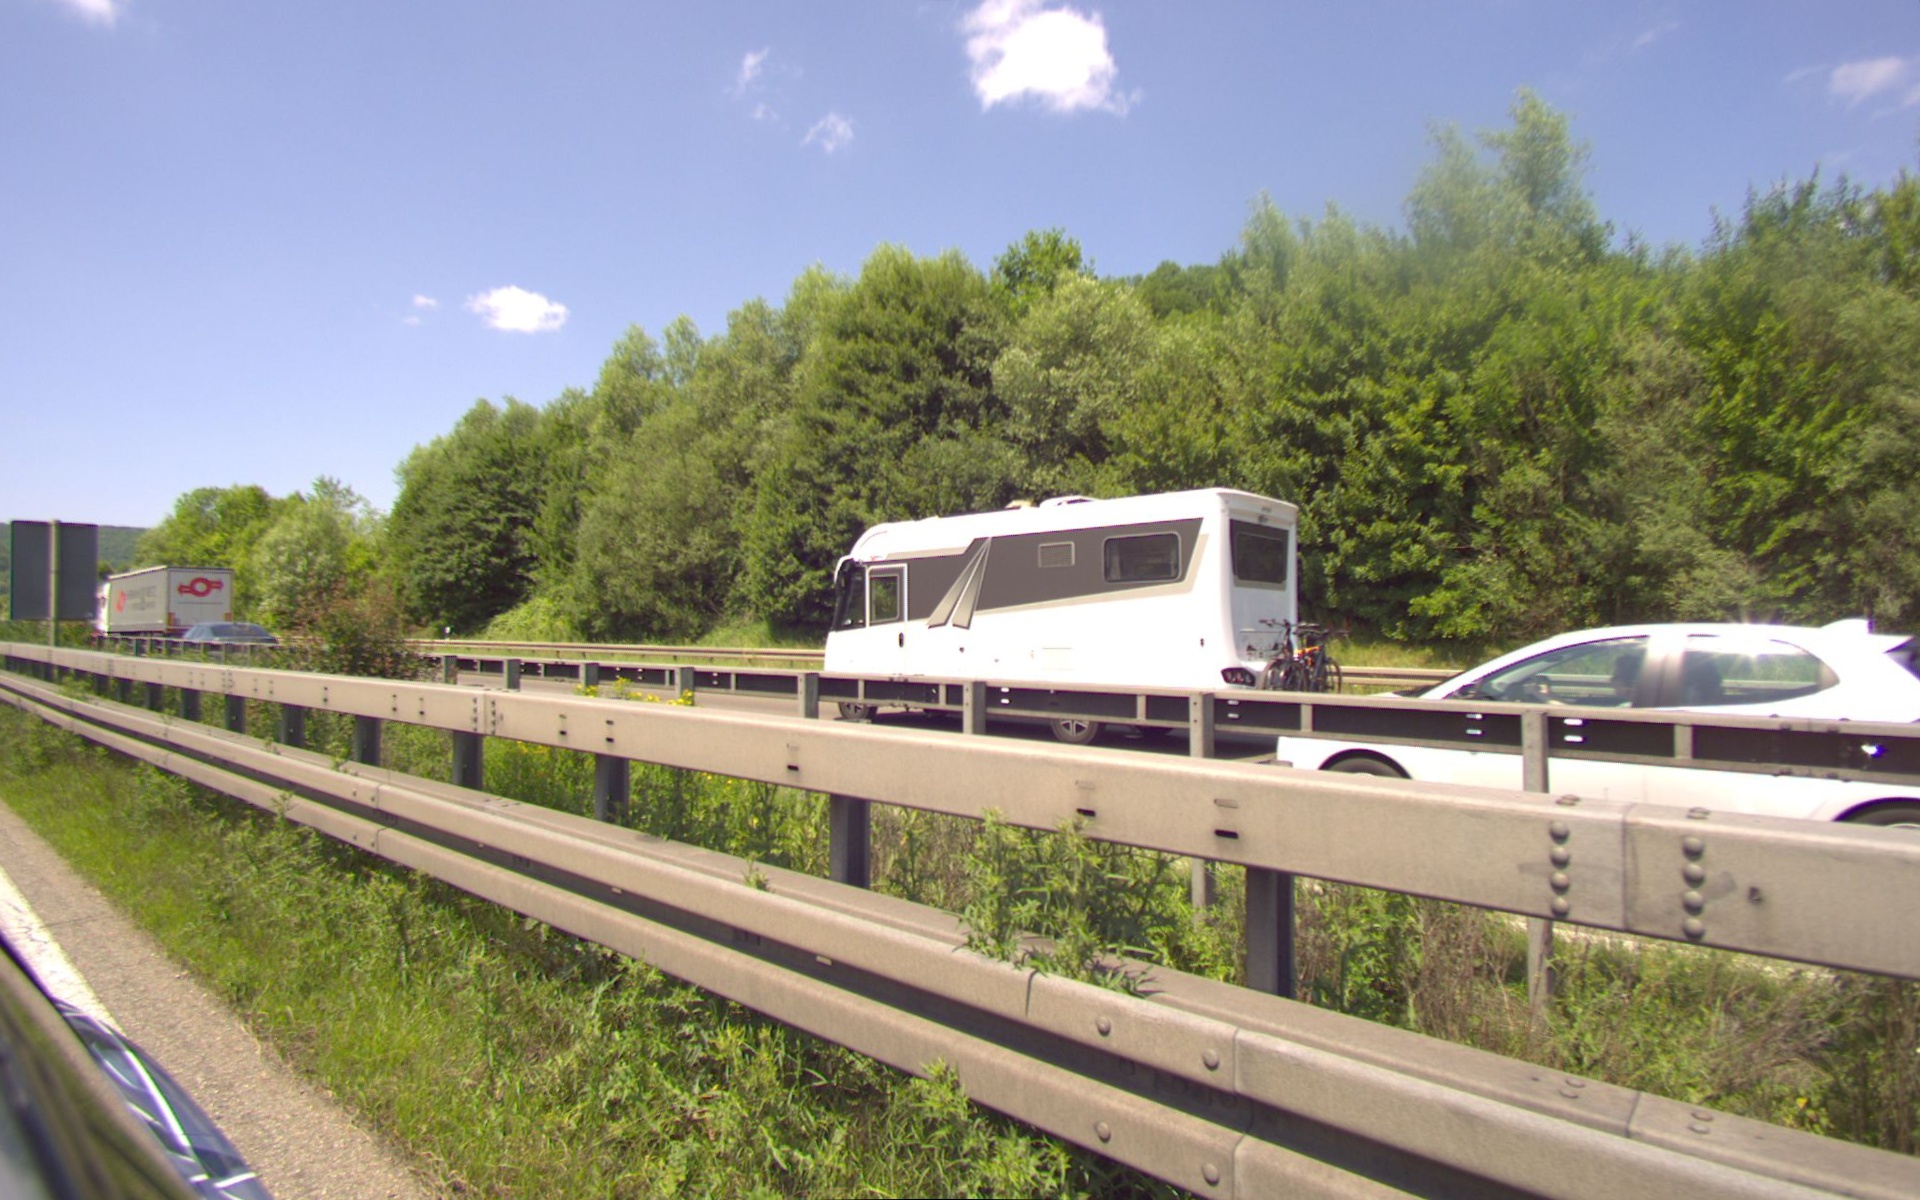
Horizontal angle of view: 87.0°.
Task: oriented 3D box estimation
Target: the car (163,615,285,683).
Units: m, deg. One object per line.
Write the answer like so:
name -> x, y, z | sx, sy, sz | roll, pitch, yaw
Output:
car -> -19.905, 1.263, 27.307 | 4.490, 1.664, 1.756 | -1, -1, 42

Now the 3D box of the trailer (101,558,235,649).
trailer -> -39.848, 0.256, 50.582 | 14.153, 4.030, 2.753 | -1, -1, 42

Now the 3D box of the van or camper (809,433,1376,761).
van or camper -> 1.359, 0.033, 13.900 | 7.646, 3.361, 2.562 | -1, -1, 42

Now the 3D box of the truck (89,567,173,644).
truck -> -45.609, 0.354, 55.643 | 5.367, 4.032, 2.699 | -1, -2, 41

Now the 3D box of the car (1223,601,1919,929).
car -> 4.053, 0.764, 5.957 | 4.533, 1.475, 1.779 | -1, -1, 40

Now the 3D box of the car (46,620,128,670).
car -> -37.670, 1.894, 43.623 | 4.330, 2.029, 1.974 | -1, -1, 39
